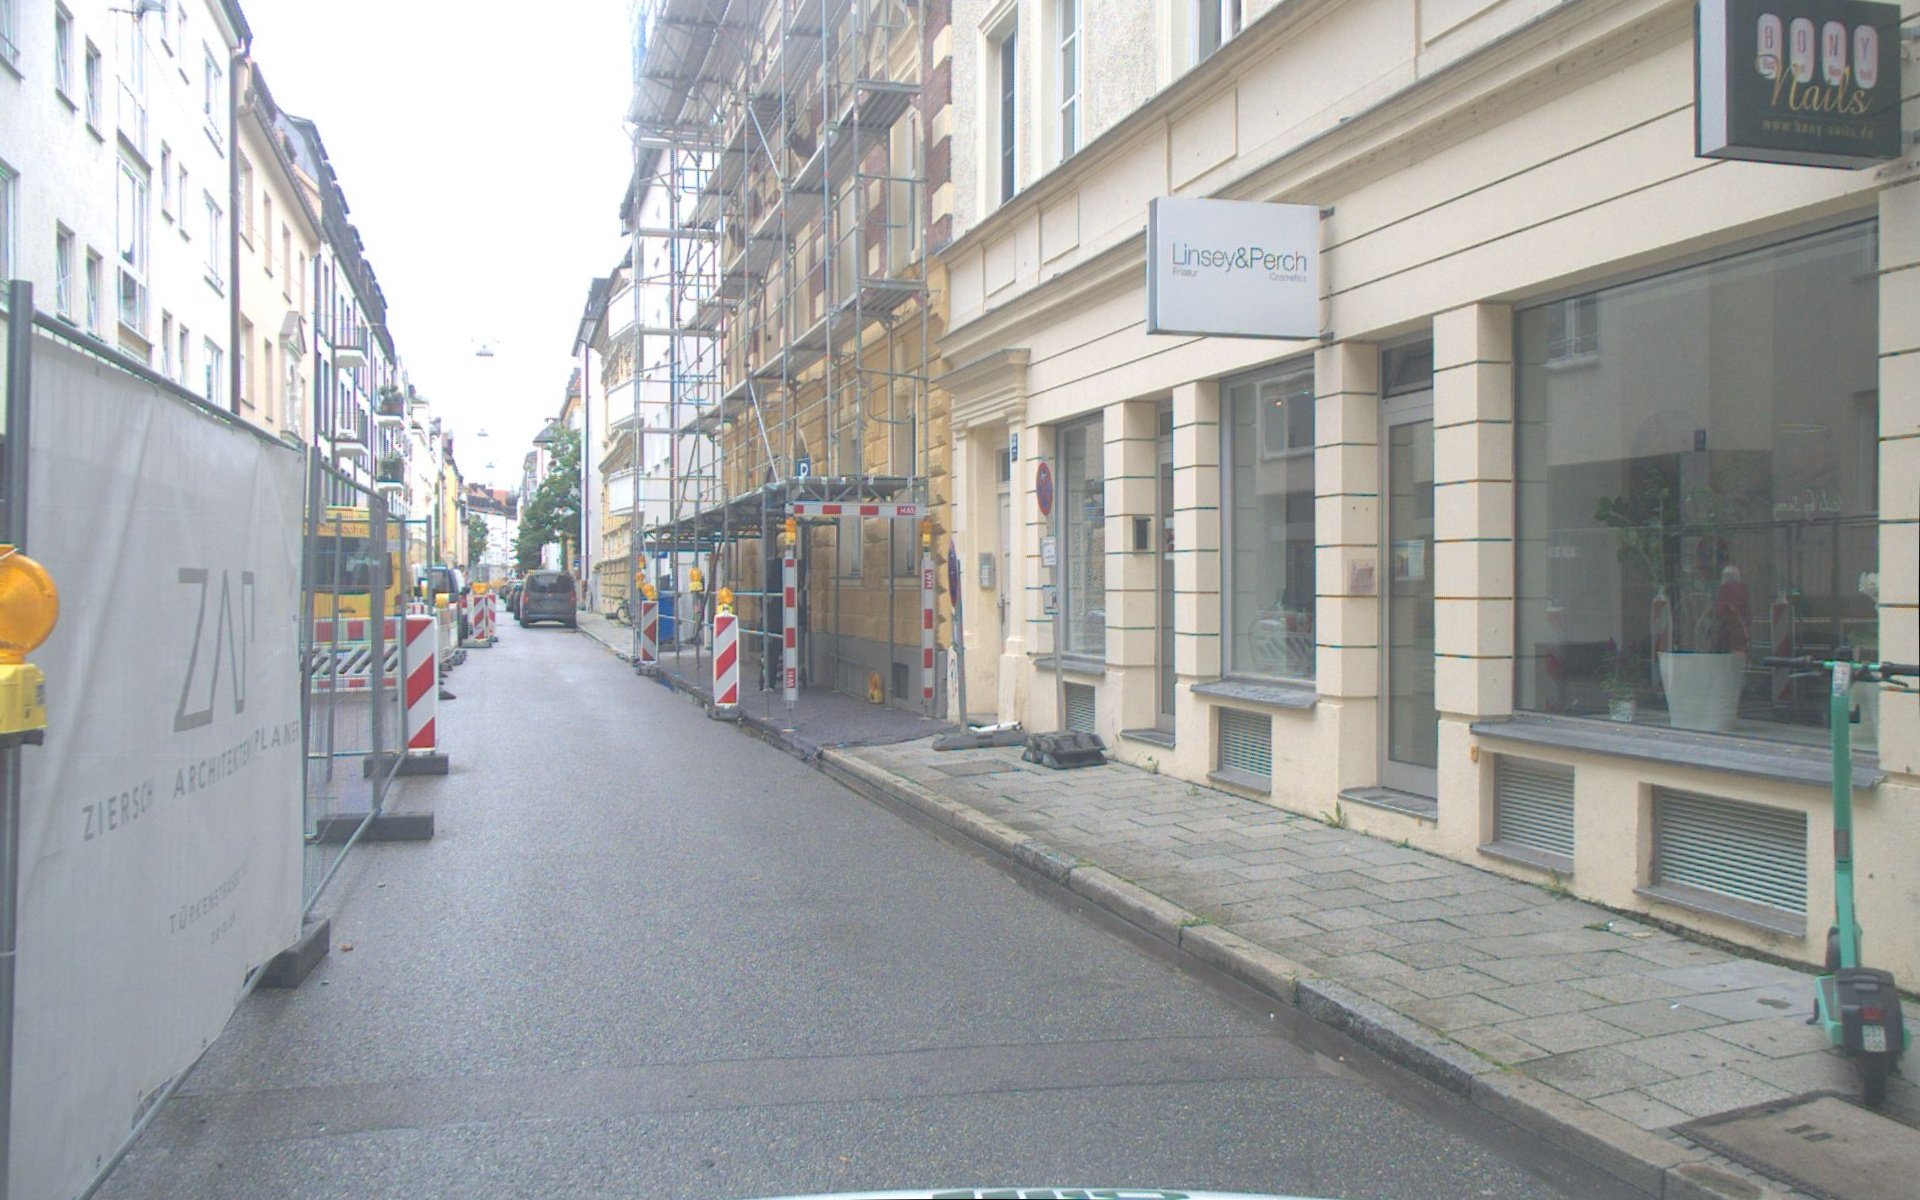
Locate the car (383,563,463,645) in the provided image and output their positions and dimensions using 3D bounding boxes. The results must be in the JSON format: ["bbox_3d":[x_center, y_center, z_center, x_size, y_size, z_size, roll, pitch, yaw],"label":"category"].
[{"bbox_3d":[-13.676,0.072,42.331,1.699,1.930,5.484,-2,1,-16],"label":"car"}]

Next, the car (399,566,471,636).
[{"bbox_3d":[-15.329,0.018,48.181,1.876,1.930,5.060,0,0,-19],"label":"car"}]

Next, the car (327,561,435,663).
[{"bbox_3d":[-11.984,0.212,34.461,1.887,1.930,4.768,-2,1,-17],"label":"car"}]

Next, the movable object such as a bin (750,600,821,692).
[{"bbox_3d":[-2.393,0.608,22.613,0.718,1.160,0.983,-5,2,-17],"label":"movable object such as a bin"}]

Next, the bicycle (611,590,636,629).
[{"bbox_3d":[-10.810,0.281,53.106,0.627,1.173,1.907,-3,2,-15],"label":"bicycle"}]

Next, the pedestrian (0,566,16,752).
[{"bbox_3d":[-8.318,0.491,13.743,0.627,1.558,0.744,1,0,-14],"label":"pedestrian"}]

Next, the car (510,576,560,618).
[{"bbox_3d":[-17.670,-0.142,68.709,1.864,1.670,4.302,0,1,-17],"label":"car"}]

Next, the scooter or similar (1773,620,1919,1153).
[{"bbox_3d":[2.667,0.712,4.753,0.484,1.204,1.607,-2,2,24],"label":"scooter or similar"}]

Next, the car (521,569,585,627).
[{"bbox_3d":[-14.564,-0.083,59.016,1.962,1.965,4.638,1,0,-17],"label":"car"}]

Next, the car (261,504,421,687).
[{"bbox_3d":[-10.016,-0.109,27.211,1.962,2.623,6.706,-1,1,-17],"label":"car"}]

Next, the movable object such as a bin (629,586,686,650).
[{"bbox_3d":[-6.958,0.397,38.135,1.065,1.369,1.316,-3,1,-4],"label":"movable object such as a bin"}]

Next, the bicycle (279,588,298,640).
[{"bbox_3d":[-16.575,0.326,40.785,0.376,1.209,2.121,1,1,-23],"label":"bicycle"}]

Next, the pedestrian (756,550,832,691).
[{"bbox_3d":[-2.212,0.256,21.954,0.718,1.783,0.983,-4,1,-17],"label":"pedestrian"}]
